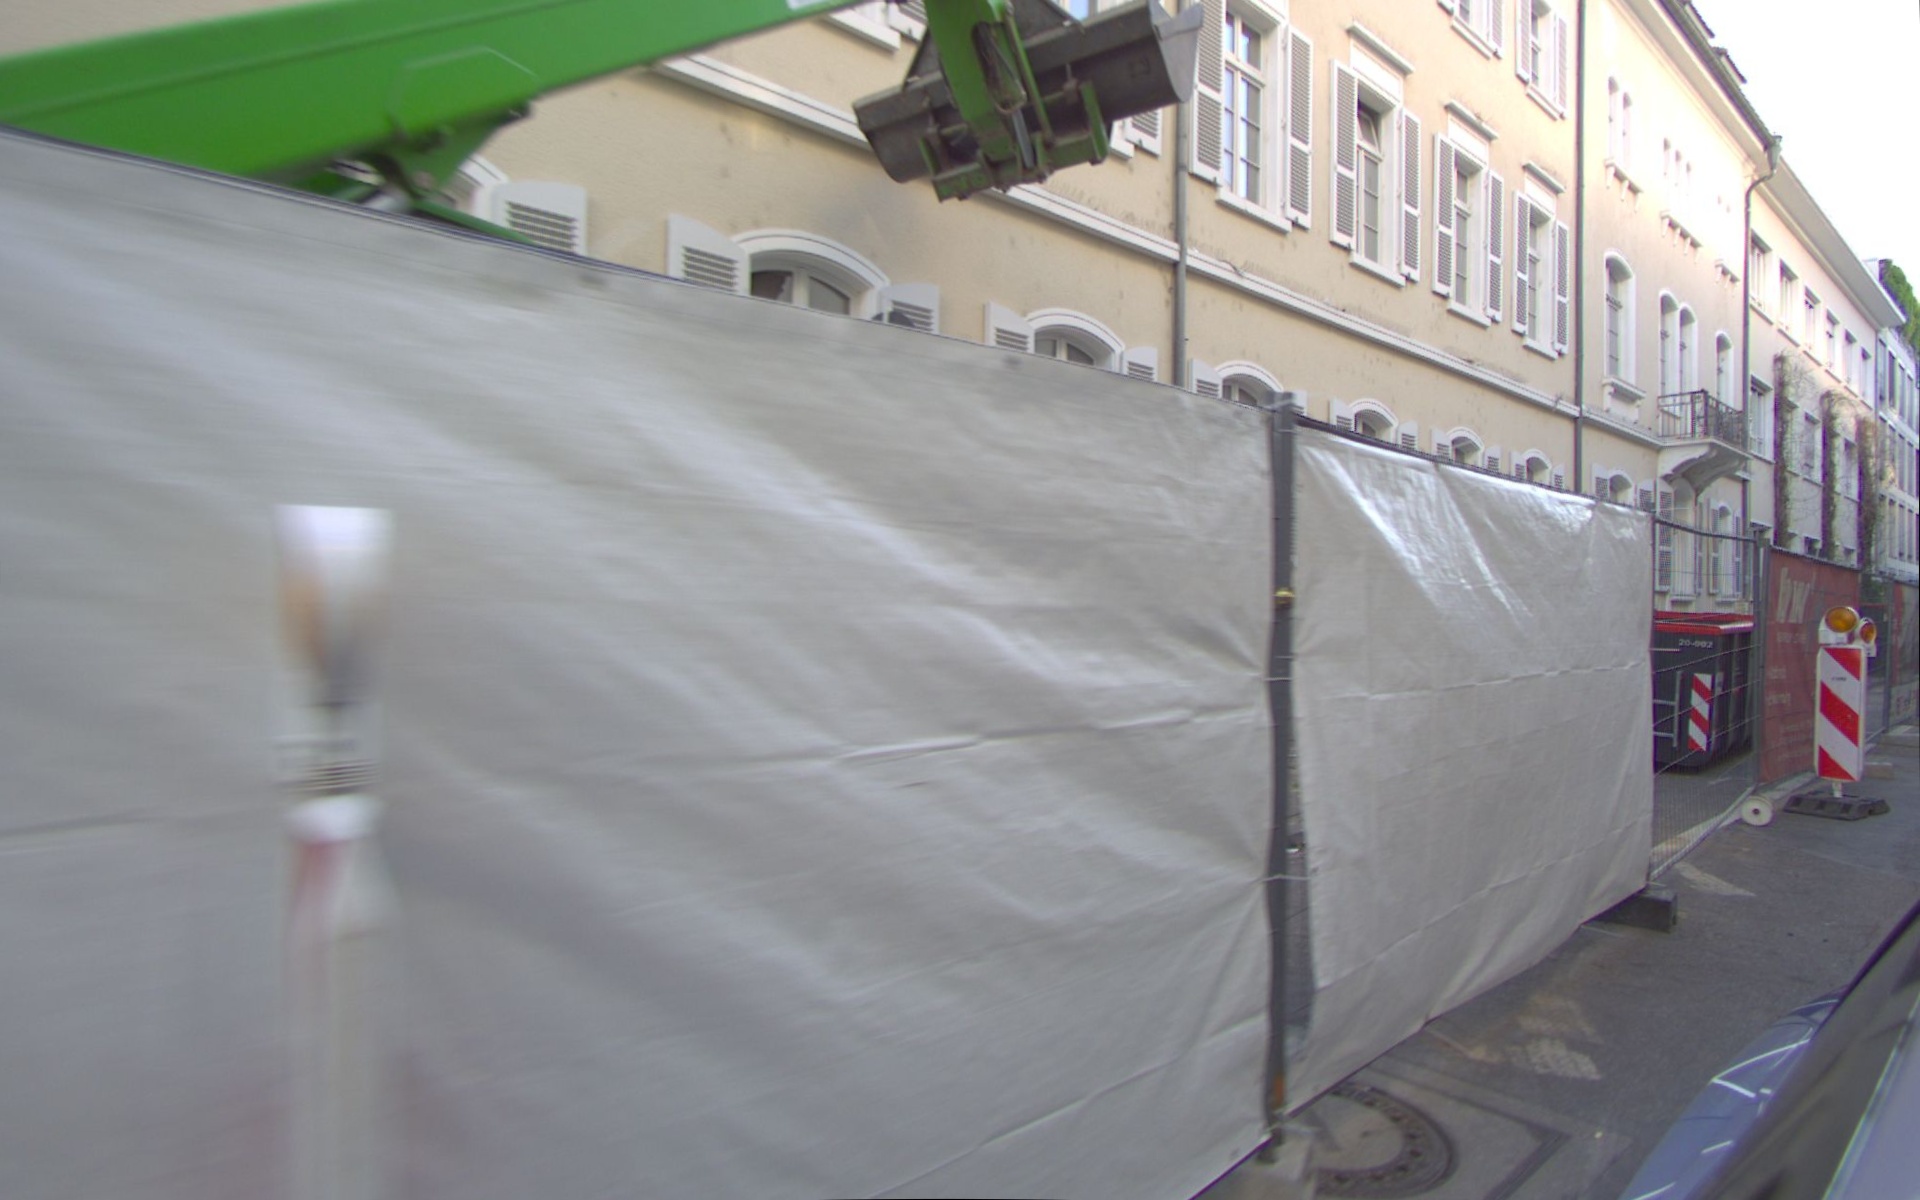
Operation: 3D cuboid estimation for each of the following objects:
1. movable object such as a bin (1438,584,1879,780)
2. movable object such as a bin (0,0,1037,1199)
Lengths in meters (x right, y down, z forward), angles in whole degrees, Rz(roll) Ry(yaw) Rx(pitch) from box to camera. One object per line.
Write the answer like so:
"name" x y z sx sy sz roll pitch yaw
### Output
"movable object such as a bin" 8.847 0.757 12.393 7.168 1.686 2.895 1 0 -42
"movable object such as a bin" -2.648 0.020 2.535 5.470 2.909 2.638 1 0 -43
